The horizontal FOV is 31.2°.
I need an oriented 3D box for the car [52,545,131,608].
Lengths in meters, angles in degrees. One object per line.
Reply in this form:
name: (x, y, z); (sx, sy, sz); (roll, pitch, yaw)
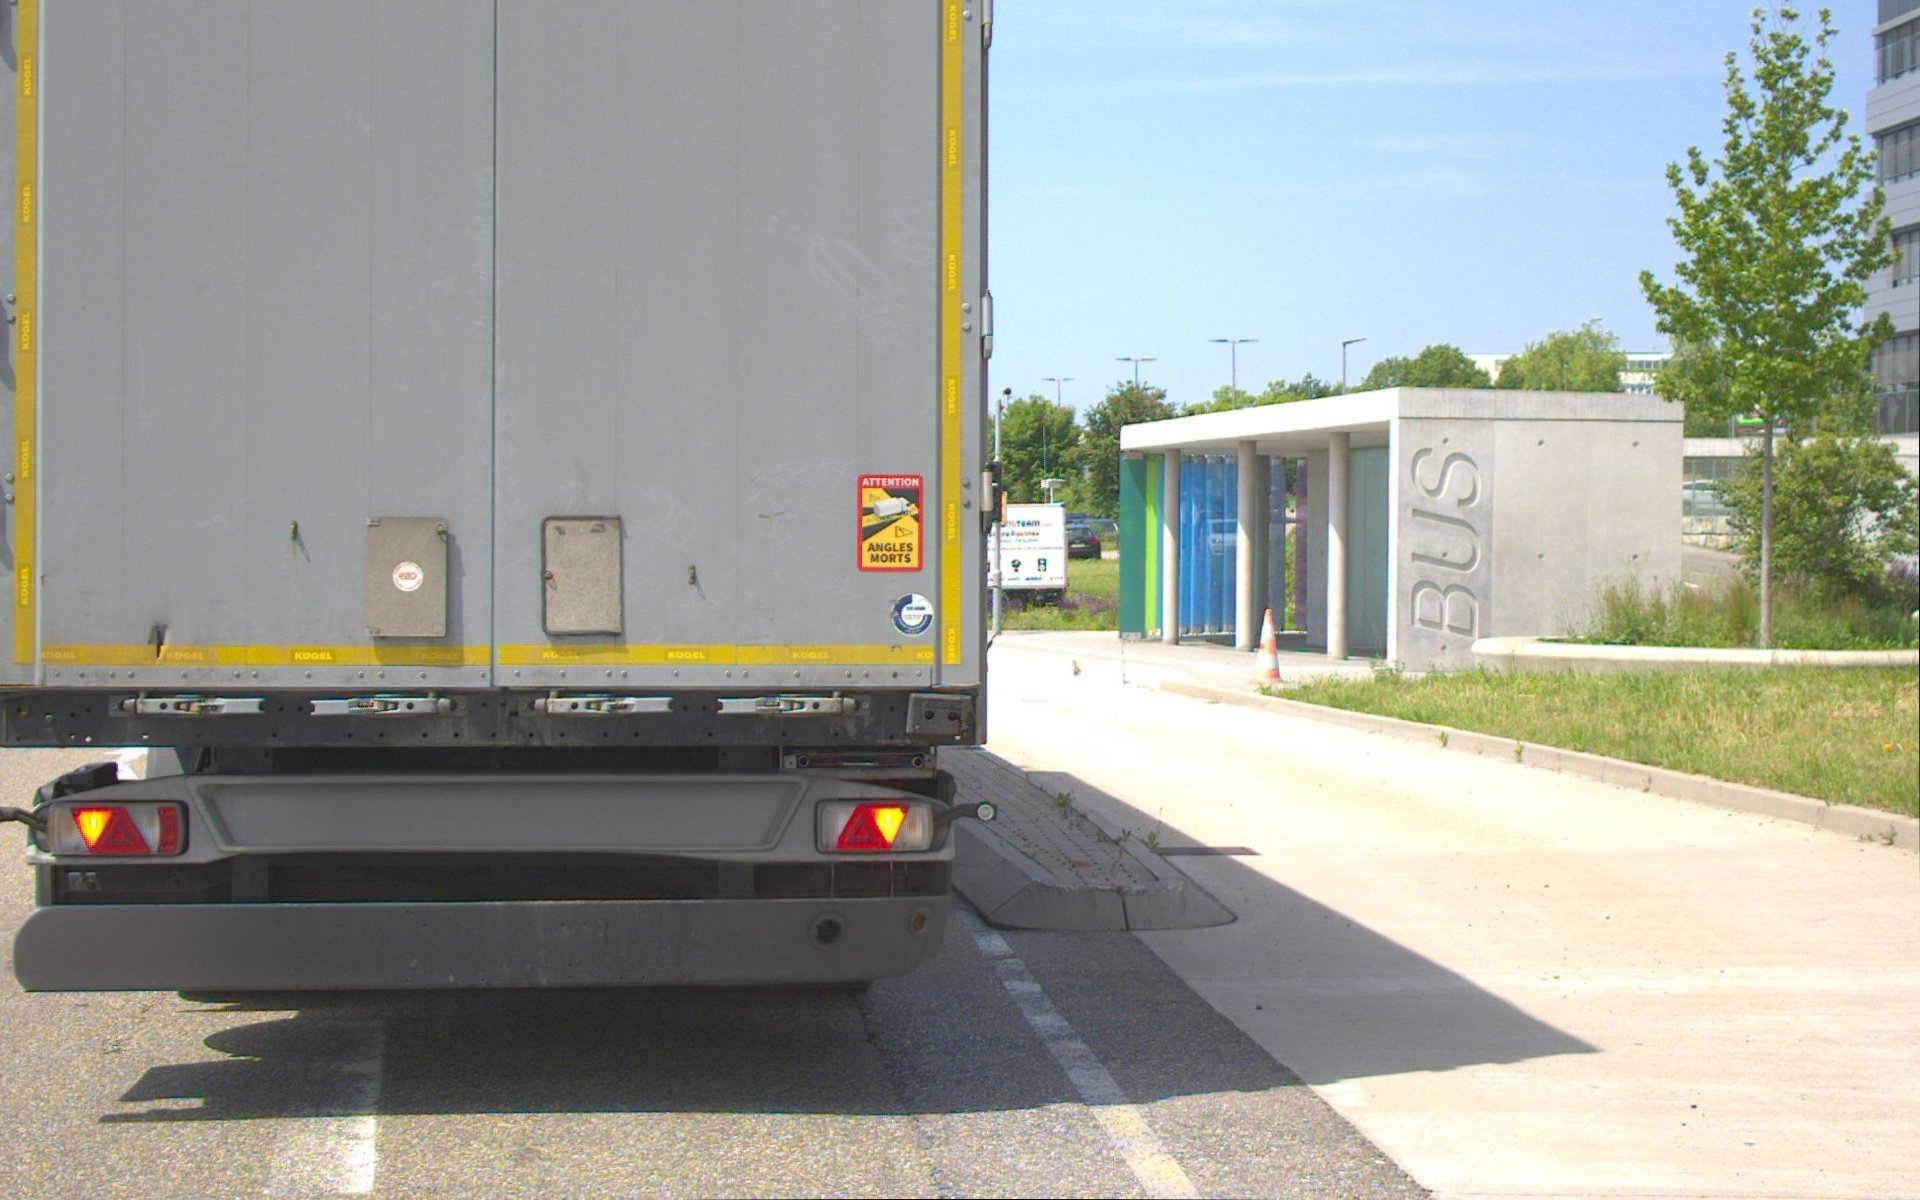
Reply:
car: (-25.689, -0.705, 101.796); (1.993, 1.781, 4.001); (-2, 1, -11)

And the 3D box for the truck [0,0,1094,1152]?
truck: (-1.563, -0.951, 12.765); (2.906, 4.395, 8.862); (0, 1, -6)

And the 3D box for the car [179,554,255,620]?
car: (-22.009, -0.407, 101.923); (1.993, 1.809, 4.297); (-2, 1, -10)
